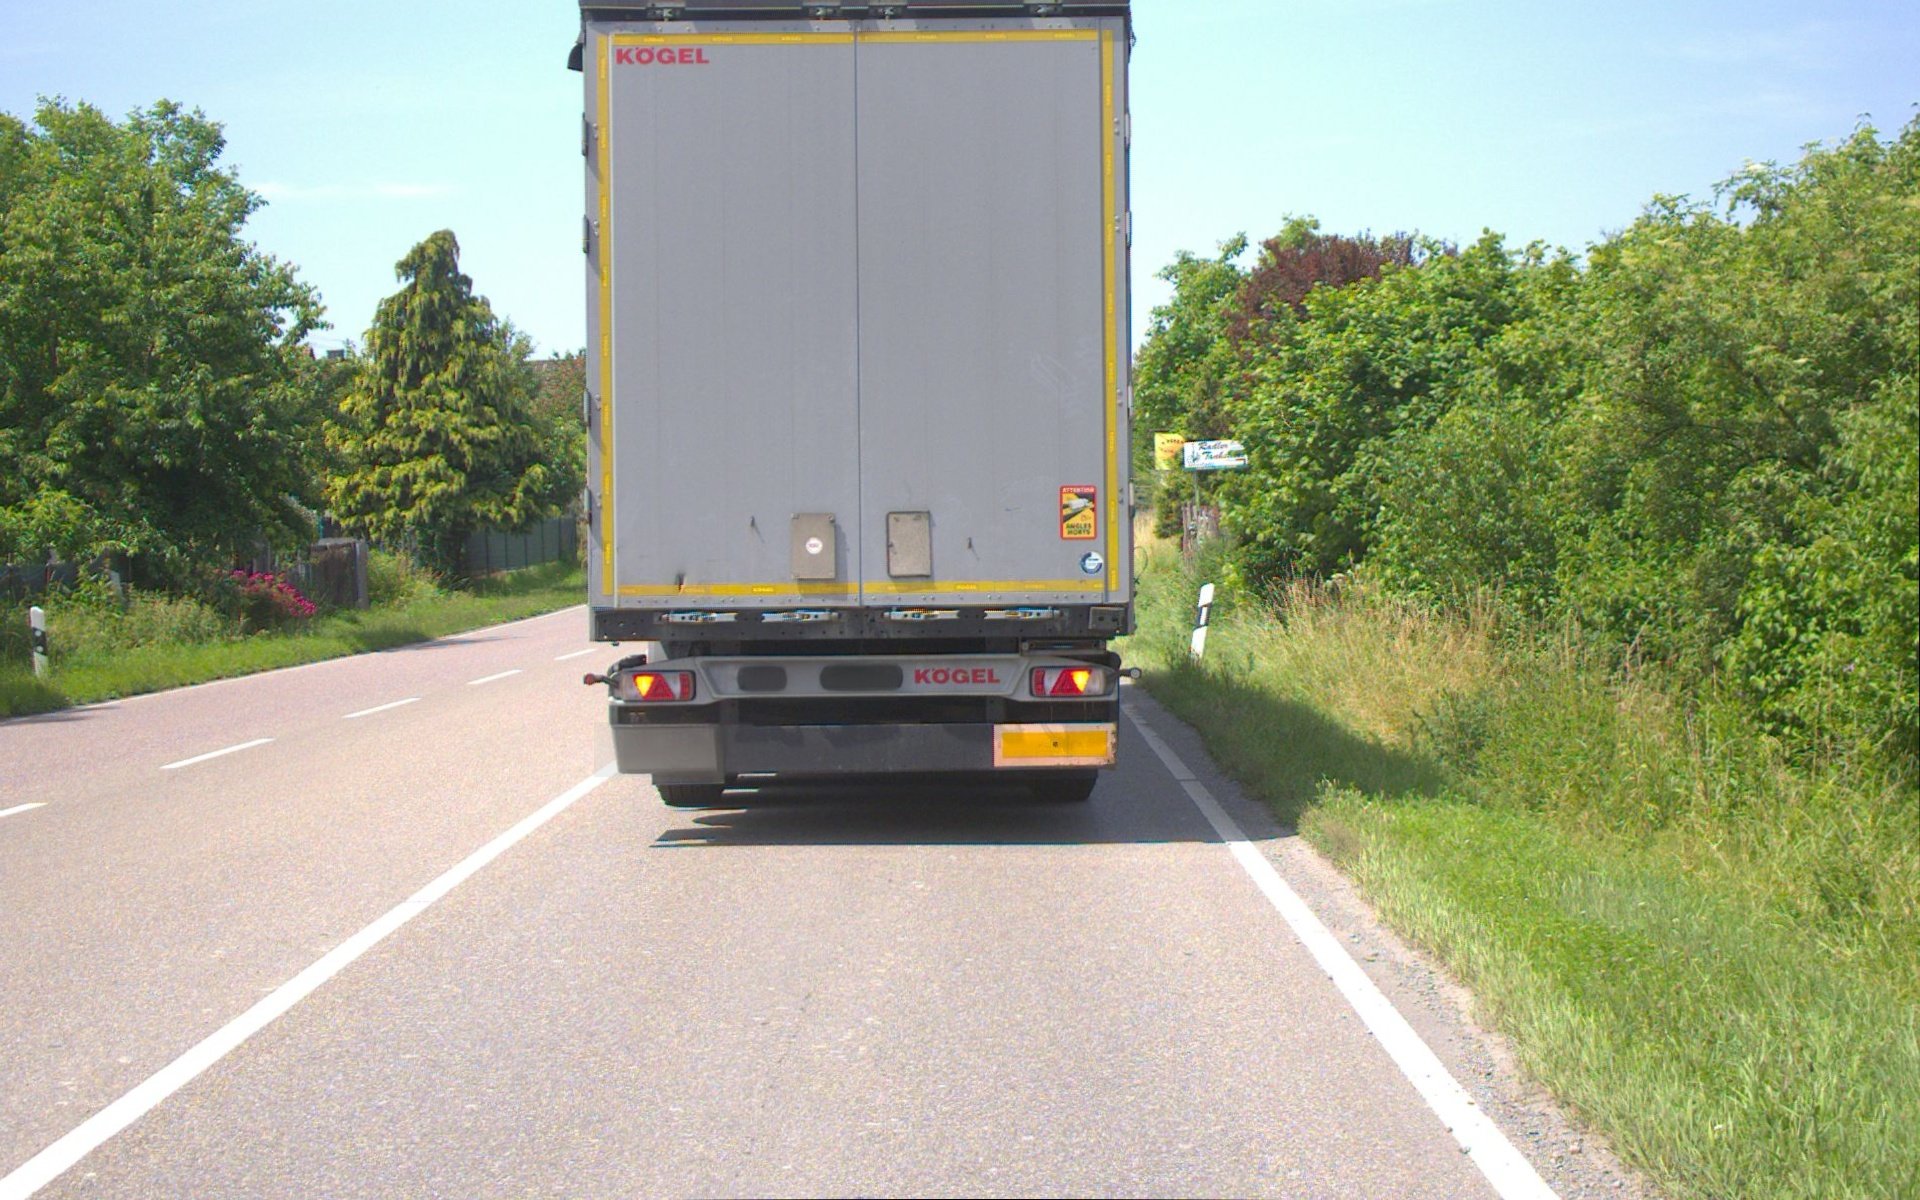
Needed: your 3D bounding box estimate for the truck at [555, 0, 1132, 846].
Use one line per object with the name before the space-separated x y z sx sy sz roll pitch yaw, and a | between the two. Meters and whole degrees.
truck | -0.608 -0.908 20.202 2.647 3.903 8.826 0 1 -1
